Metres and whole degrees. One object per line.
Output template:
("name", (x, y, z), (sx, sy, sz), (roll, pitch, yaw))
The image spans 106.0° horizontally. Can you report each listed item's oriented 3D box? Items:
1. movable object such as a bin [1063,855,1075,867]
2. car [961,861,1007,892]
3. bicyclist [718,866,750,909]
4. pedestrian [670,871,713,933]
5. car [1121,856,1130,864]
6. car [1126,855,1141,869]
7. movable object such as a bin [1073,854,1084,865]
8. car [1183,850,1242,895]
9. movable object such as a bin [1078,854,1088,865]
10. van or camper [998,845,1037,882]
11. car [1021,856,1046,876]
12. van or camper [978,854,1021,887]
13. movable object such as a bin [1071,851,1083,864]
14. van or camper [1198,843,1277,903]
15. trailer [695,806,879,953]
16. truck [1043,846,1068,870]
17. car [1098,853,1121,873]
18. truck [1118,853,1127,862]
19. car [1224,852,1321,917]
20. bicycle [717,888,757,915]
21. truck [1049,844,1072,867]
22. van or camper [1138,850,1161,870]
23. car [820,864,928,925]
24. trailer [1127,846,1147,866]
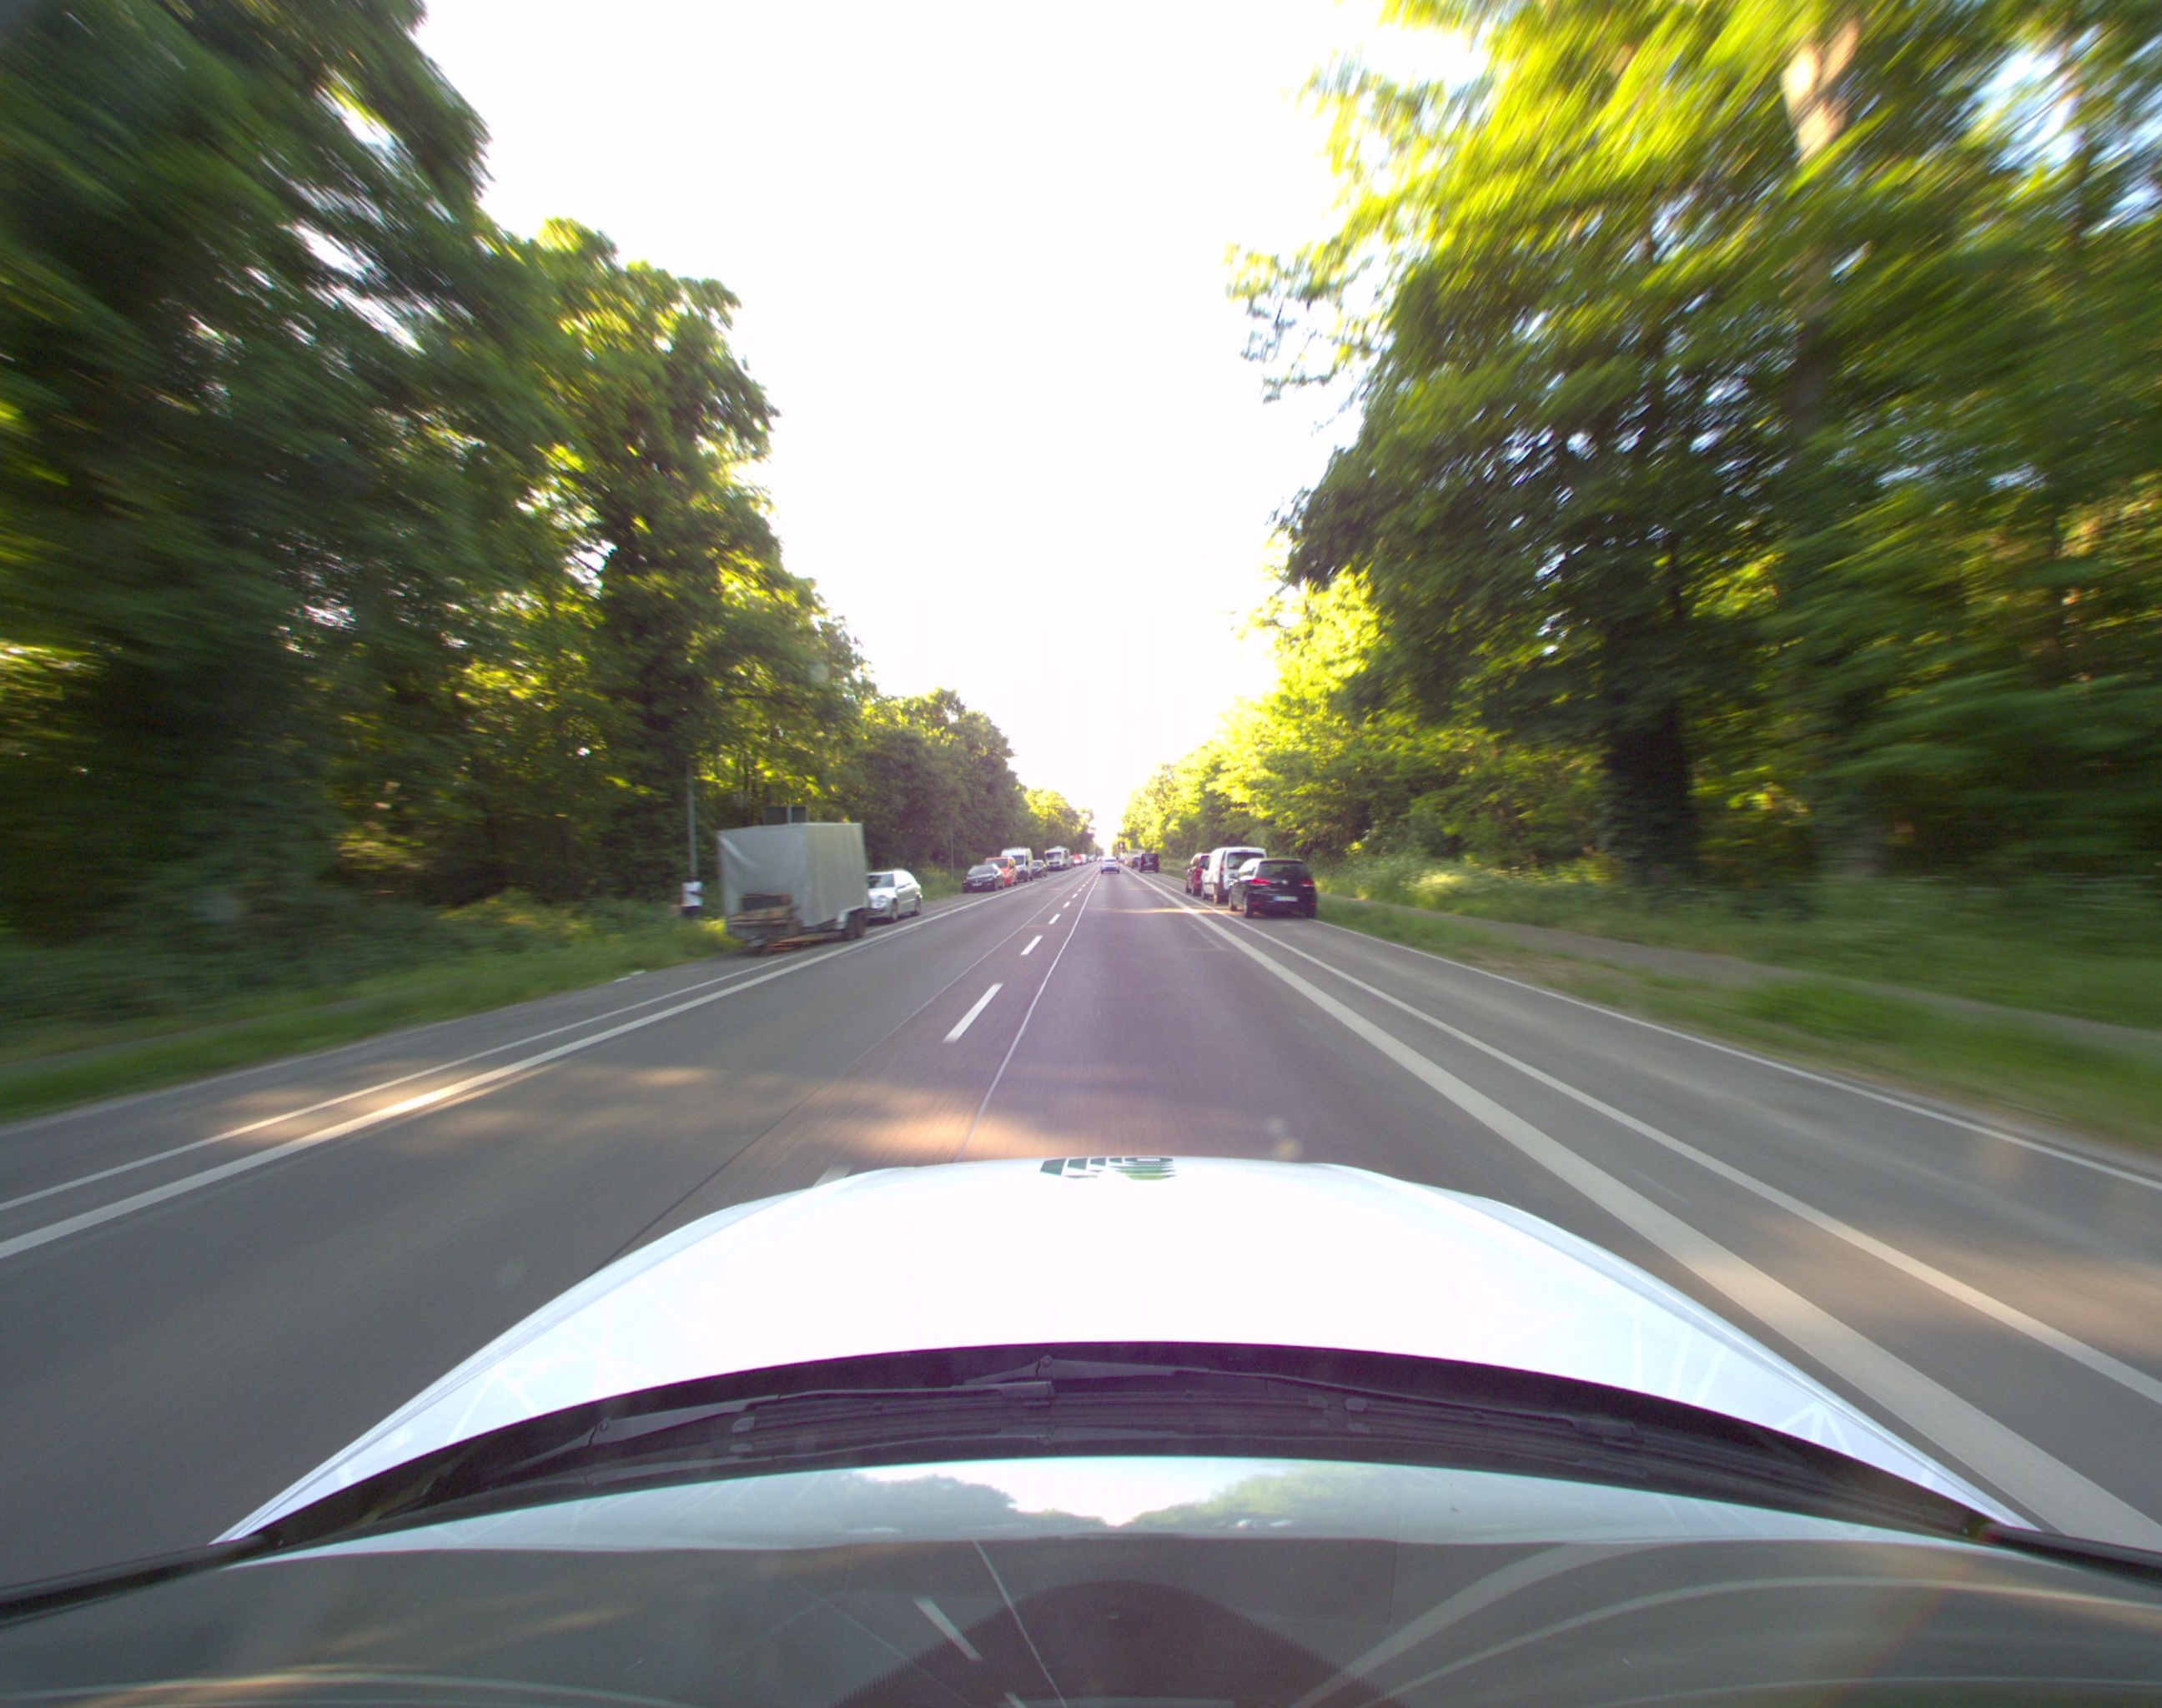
("movable object such as a bin", (-2.161, 1.231, 144.910), (1.946, 2.013, 4.002), (-2, 0, 2))
("car", (-5.217, 1.164, 44.347), (1.725, 1.478, 4.326), (-3, 0, 2))
("bicyclist", (-10.291, 0.991, 24.169), (0.485, 1.235, 0.974), (-1, 0, 2))
("pedestrian", (-10.350, 1.269, 21.662), (0.755, 1.607, 0.716), (-1, -1, 2))
("car", (8.774, 1.258, 161.772), (1.649, 1.478, 3.755), (-2, 0, 2))
("car", (6.661, 1.000, 103.833), (1.834, 1.662, 4.002), (-1, 0, 2))
("movable object such as a bin", (-0.472, 1.198, 183.722), (2.313, 2.502, 4.002), (-2, 0, 2))
("car", (5.163, 0.707, 32.434), (1.827, 1.660, 4.340), (0, 0, 2))
("movable object such as a bin", (0.426, 1.393, 206.308), (2.313, 2.502, 4.002), (-2, 0, 2))
("van or camper", (-4.743, 0.667, 61.662), (2.112, 2.572, 6.545), (-2, 0, 2))
("car", (-4.292, 1.098, 73.781), (1.774, 1.684, 4.380), (-3, 0, 2))
("van or camper", (-5.036, 0.978, 50.755), (1.915, 1.867, 4.865), (-3, 0, 2))
("movable object such as a bin", (-0.846, 0.680, 169.191), (2.313, 2.502, 4.002), (-2, 0, 2))
("van or camper", (5.142, 0.584, 27.391), (1.944, 1.815, 4.383), (-1, 0, 2))
("trailer", (-5.975, 0.477, 17.231), (1.986, 2.597, 4.418), (-4, 0, 2))
("truck", (-3.370, 0.578, 110.130), (2.697, 3.093, 7.993), (-1, 0, 2))
("car", (2.754, 0.856, 78.033), (2.021, 1.840, 4.031), (-2, 0, 2))
("truck", (11.031, 0.941, 216.738), (2.089, 2.452, 5.682), (-2, 0, 2))
("car", (4.851, 0.726, 21.137), (1.683, 1.524, 4.151), (0, 0, 2))
("bicycle", (-10.257, 1.395, 24.318), (0.520, 0.712, 1.488), (-1, 0, 2))
("truck", (-2.973, 0.249, 121.966), (2.697, 3.347, 10.929), (-1, 0, 2))
("van or camper", (6.794, 0.607, 81.047), (1.986, 1.932, 5.201), (0, 0, 2))
("car", (-5.797, 1.078, 23.423), (1.791, 1.453, 4.625), (-3, 0, 1))
("trailer", (8.588, 0.294, 125.807), (2.747, 2.870, 6.591), (-2, 0, 2))
